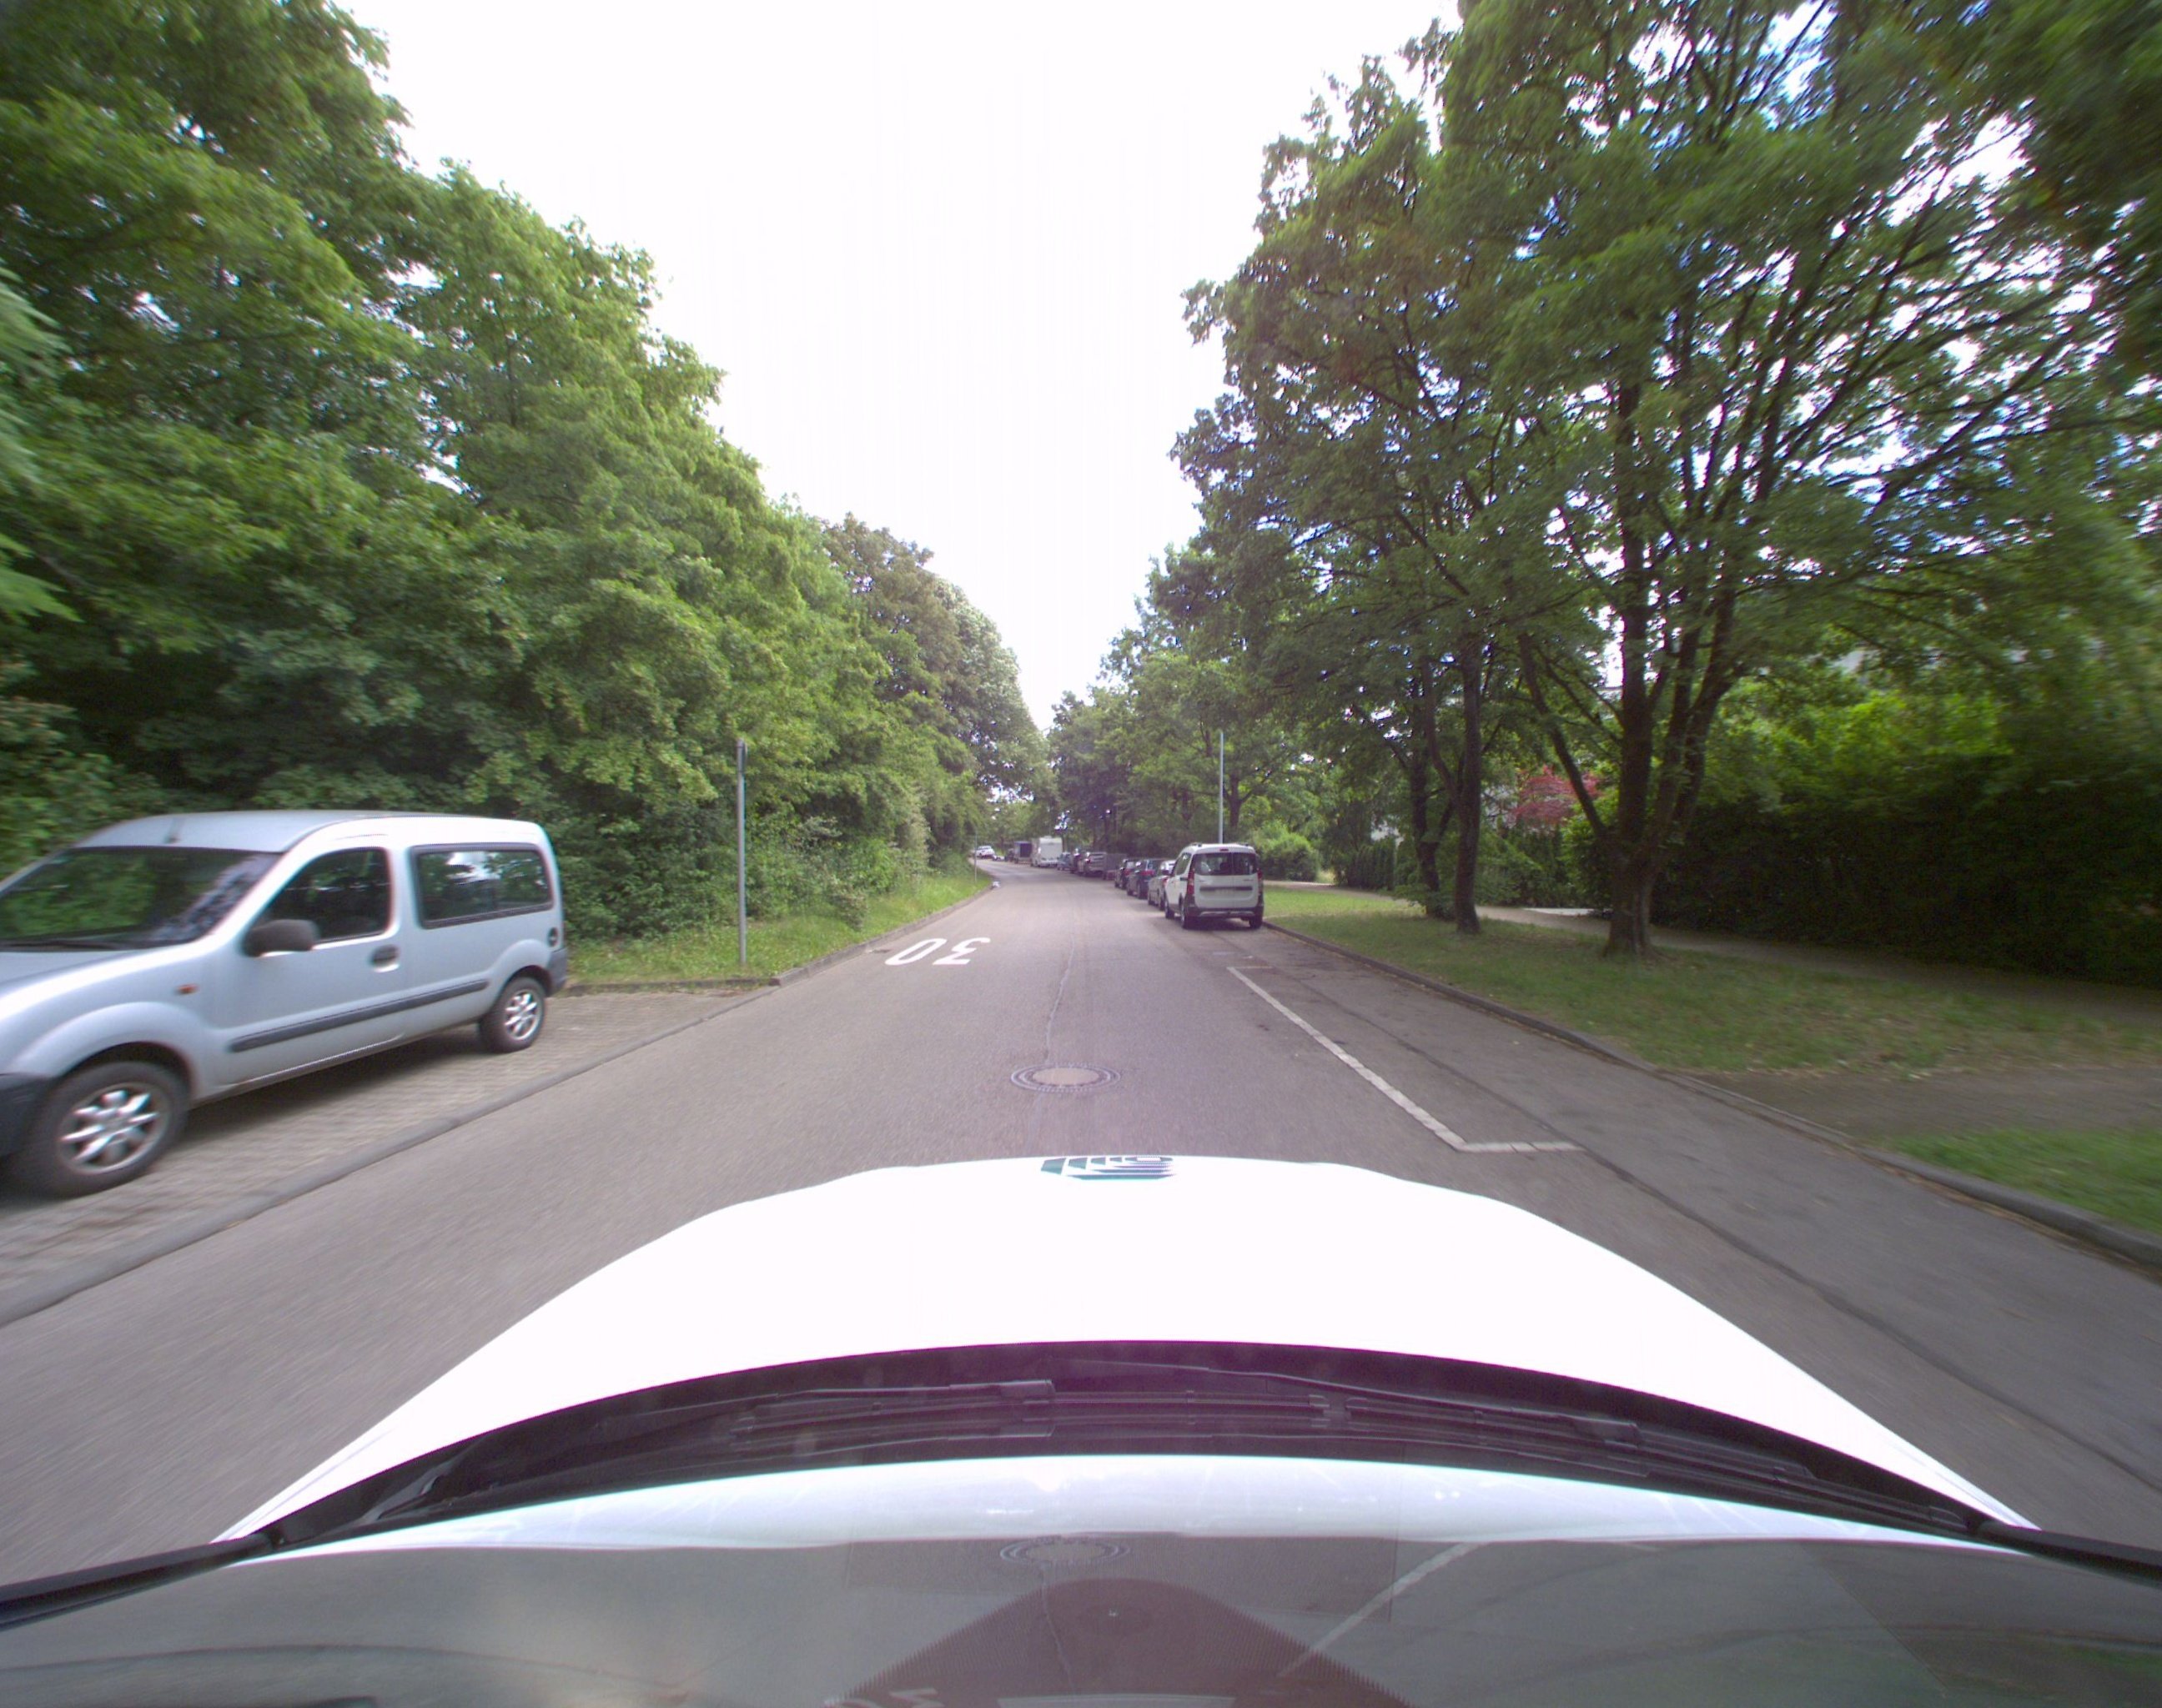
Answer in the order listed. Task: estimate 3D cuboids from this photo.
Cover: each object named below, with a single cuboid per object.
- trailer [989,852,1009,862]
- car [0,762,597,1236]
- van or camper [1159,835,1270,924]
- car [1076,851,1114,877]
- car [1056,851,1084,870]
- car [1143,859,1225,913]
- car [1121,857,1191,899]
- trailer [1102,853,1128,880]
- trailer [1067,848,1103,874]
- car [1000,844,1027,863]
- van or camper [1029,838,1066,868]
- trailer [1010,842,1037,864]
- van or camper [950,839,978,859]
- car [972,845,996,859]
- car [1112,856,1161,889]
[{"bbox_3d":[-10.084,0.367,99.836,1.656,1.086,3.976,-3,2,-18],"label":"trailer"},{"bbox_3d":[-5.160,0.545,5.053,1.714,1.921,4.106,2,1,1],"label":"car"},{"bbox_3d":[2.956,0.574,18.882,1.796,1.838,4.318,0,-1,-1],"label":"van or camper"},{"bbox_3d":[0.913,0.680,54.876,1.792,1.670,4.487,-1,-1,-9],"label":"car"},{"bbox_3d":[-1.014,0.536,70.436,1.800,1.562,3.822,-1,1,-10],"label":"car"},{"bbox_3d":[3.008,0.889,24.582,1.808,1.437,4.240,1,0,-2],"label":"car"},{"bbox_3d":[2.714,0.836,30.536,1.844,1.474,4.470,0,0,-6],"label":"car"},{"bbox_3d":[2.000,0.719,48.735,1.276,1.585,2.456,0,0,-5],"label":"trailer"},{"bbox_3d":[0.232,0.480,61.167,1.978,1.811,5.135,-1,1,-8],"label":"trailer"},{"bbox_3d":[-8.020,-0.044,96.241,2.001,2.025,3.972,-3,3,-21],"label":"car"},{"bbox_3d":[-3.402,-0.128,80.660,2.484,2.876,6.860,0,0,-12],"label":"van or camper"},{"bbox_3d":[-6.458,-0.079,90.928,2.000,2.398,3.973,0,0,-20],"label":"trailer"},{"bbox_3d":[-16.703,-0.741,116.434,2.541,2.697,4.534,-2,1,-28],"label":"van or camper"},{"bbox_3d":[-12.956,-0.251,108.615,2.045,1.803,4.049,-1,1,-26],"label":"car"},{"bbox_3d":[2.533,0.841,37.914,1.718,1.453,3.910,0,0,-5],"label":"car"}]
